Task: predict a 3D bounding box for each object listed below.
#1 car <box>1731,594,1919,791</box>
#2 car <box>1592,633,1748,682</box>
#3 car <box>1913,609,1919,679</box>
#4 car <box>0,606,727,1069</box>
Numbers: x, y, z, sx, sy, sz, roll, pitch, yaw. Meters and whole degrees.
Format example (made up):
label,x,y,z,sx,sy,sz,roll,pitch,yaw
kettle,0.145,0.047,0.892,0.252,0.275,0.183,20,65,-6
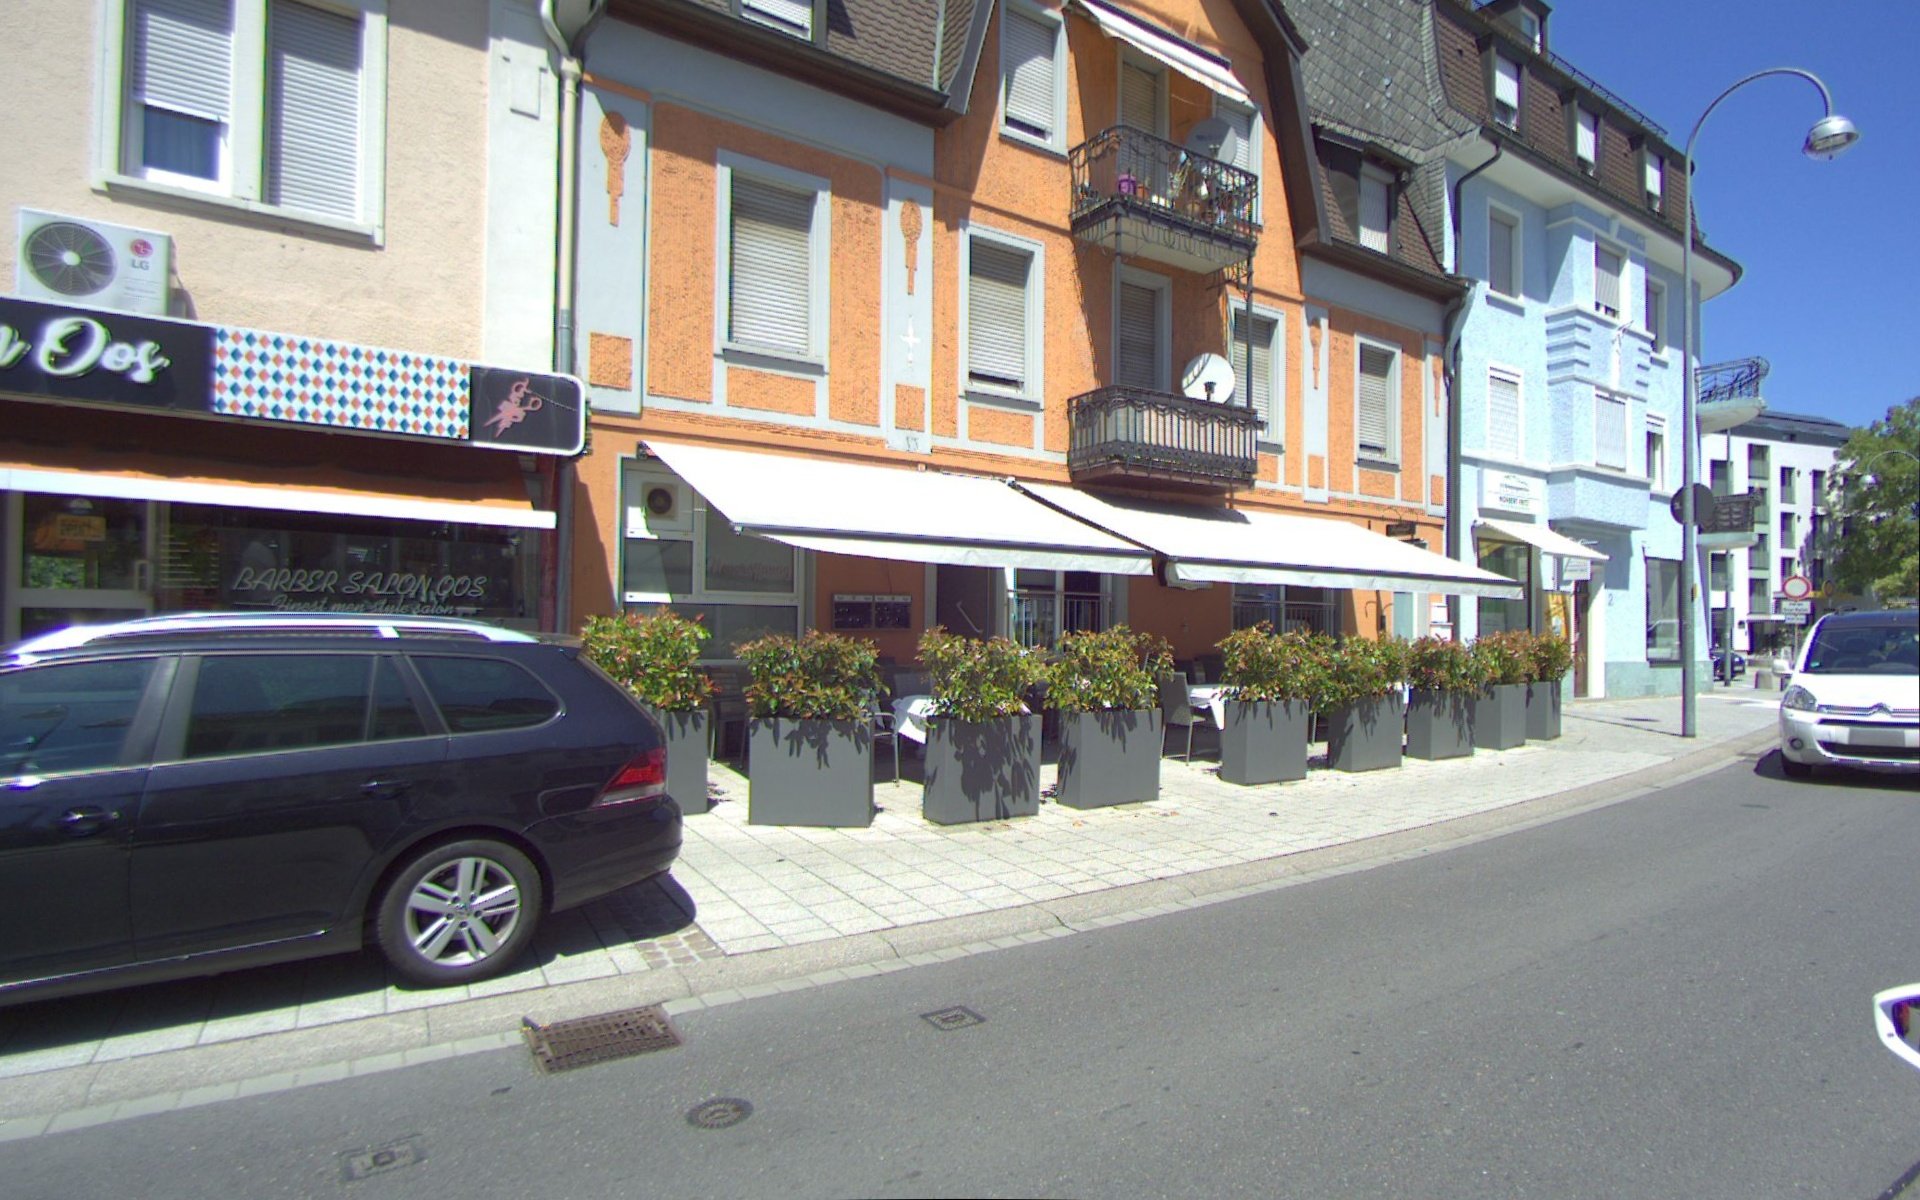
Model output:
label,x,y,z,sx,sy,sz,roll,pitch,yaw
car,10.395,0.943,11.204,4.381,1.846,1.977,2,-4,-41
car,25.187,2.097,35.819,1.783,1.567,4.247,-1,-4,-19
car,27.734,1.167,25.943,1.736,1.900,4.212,0,-1,-20
car,-3.410,0.813,4.365,4.290,1.501,1.904,1,0,-32
